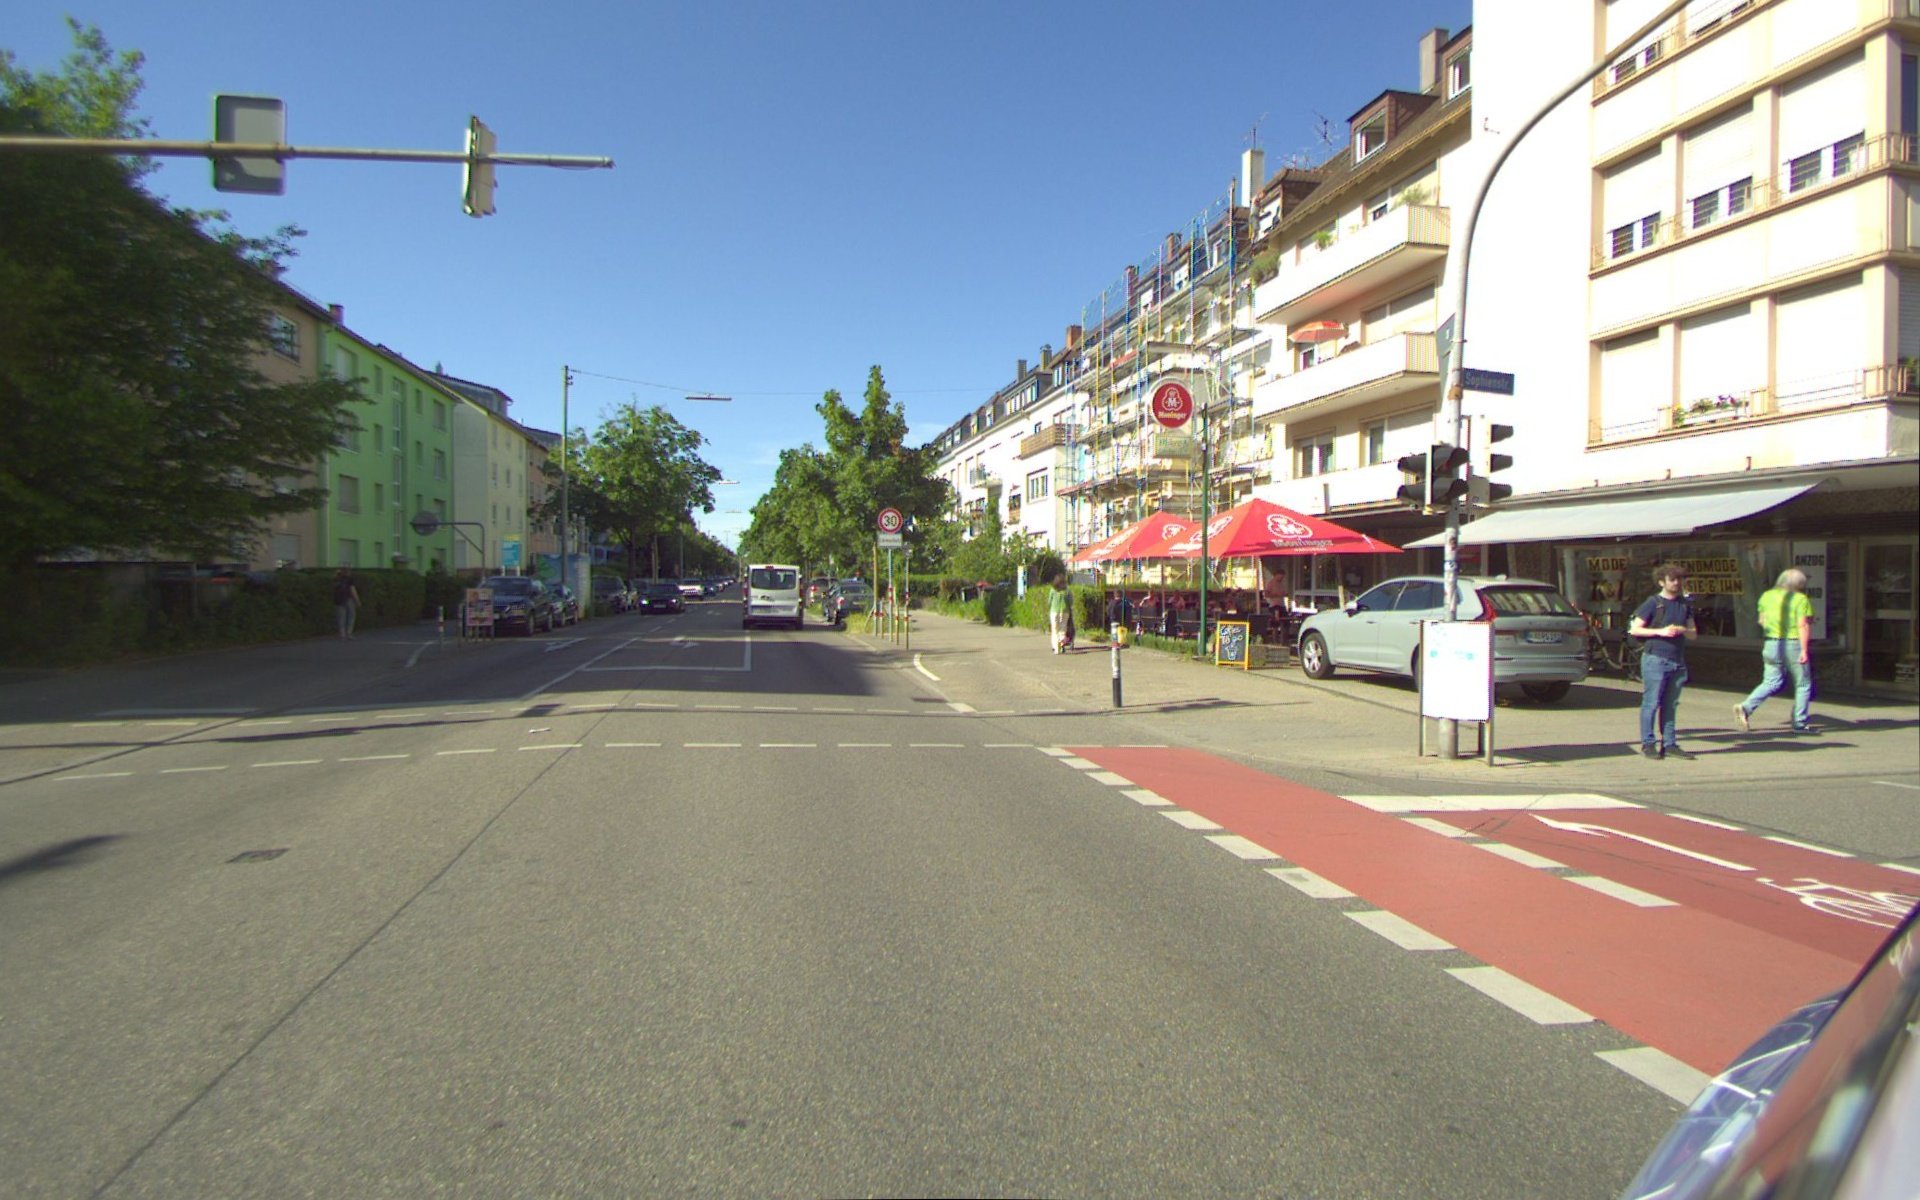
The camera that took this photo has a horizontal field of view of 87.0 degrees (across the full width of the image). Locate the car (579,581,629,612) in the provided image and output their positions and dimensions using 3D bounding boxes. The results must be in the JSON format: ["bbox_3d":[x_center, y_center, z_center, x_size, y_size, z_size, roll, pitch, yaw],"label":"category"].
[{"bbox_3d":[-16.328,-0.199,46.567,1.650,1.353,3.529,0,1,-11],"label":"car"}]

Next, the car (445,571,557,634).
[{"bbox_3d":[-12.438,0.014,27.692,1.958,1.593,4.008,0,1,-12],"label":"car"}]

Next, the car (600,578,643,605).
[{"bbox_3d":[-17.489,-0.470,52.378,1.650,1.353,3.529,0,1,-11],"label":"car"}]

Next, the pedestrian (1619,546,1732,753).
[{"bbox_3d":[6.634,0.430,9.401,0.593,1.845,0.629,0,1,-27],"label":"pedestrian"}]

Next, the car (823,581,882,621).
[{"bbox_3d":[-3.924,-0.015,36.367,1.678,1.330,4.008,0,1,-12],"label":"car"}]

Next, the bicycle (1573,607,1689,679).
[{"bbox_3d":[10.695,0.657,16.212,0.556,1.029,1.896,0,1,-1],"label":"bicycle"}]

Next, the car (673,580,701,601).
[{"bbox_3d":[-19.078,-0.698,70.778,1.650,1.429,3.530,0,1,-12],"label":"car"}]

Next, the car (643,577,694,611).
[{"bbox_3d":[-12.936,-0.293,45.124,1.831,1.393,4.008,-1,2,-12],"label":"car"}]

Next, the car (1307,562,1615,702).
[{"bbox_3d":[6.807,0.340,14.298,1.787,1.683,4.008,0,1,-12],"label":"car"}]

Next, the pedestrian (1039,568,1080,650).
[{"bbox_3d":[2.028,0.171,20.679,0.632,1.638,0.596,0,1,-17],"label":"pedestrian"}]

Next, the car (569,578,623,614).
[{"bbox_3d":[-15.347,-0.185,42.823,1.650,1.429,3.530,0,1,-12],"label":"car"}]

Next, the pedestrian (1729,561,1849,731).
[{"bbox_3d":[8.942,0.475,10.940,0.747,1.780,0.664,0,0,-7],"label":"pedestrian"}]

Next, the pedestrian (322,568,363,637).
[{"bbox_3d":[-14.455,0.050,23.708,0.633,1.606,0.572,0,1,-5],"label":"pedestrian"}]

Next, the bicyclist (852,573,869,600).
[{"bbox_3d":[-5.147,-0.721,52.341,0.641,1.381,0.886,0,1,-19],"label":"bicyclist"}]

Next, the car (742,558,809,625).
[{"bbox_3d":[-5.852,-0.256,32.158,1.934,1.964,5.064,0,0,-10],"label":"car"}]

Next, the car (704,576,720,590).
[{"bbox_3d":[-27.114,-1.894,110.739,1.650,1.429,3.530,0,1,-13],"label":"car"}]

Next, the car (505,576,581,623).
[{"bbox_3d":[-13.529,-0.049,33.015,1.650,1.429,3.530,0,1,-12],"label":"car"}]

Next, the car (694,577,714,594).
[{"bbox_3d":[-22.101,-1.264,87.464,1.650,1.429,3.530,0,1,-13],"label":"car"}]
